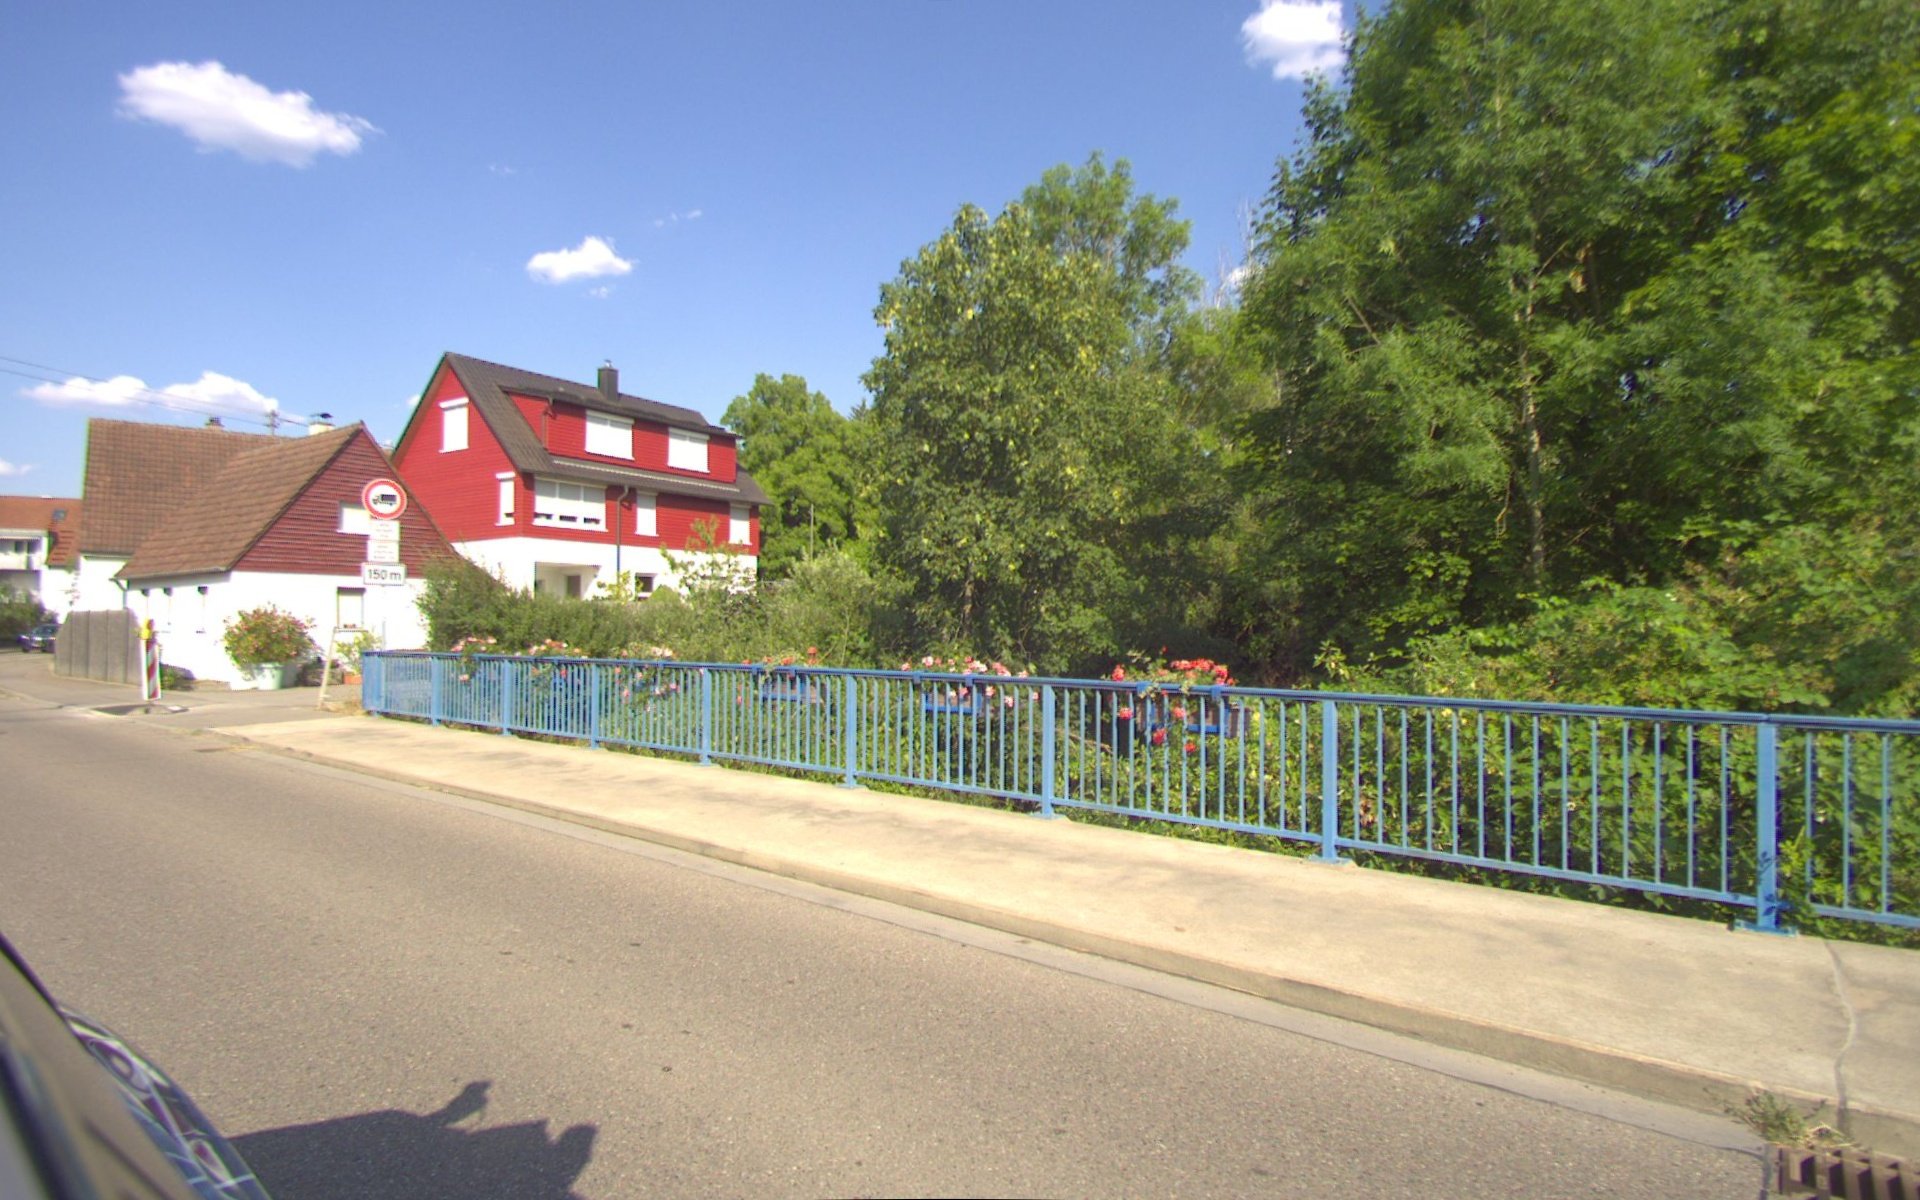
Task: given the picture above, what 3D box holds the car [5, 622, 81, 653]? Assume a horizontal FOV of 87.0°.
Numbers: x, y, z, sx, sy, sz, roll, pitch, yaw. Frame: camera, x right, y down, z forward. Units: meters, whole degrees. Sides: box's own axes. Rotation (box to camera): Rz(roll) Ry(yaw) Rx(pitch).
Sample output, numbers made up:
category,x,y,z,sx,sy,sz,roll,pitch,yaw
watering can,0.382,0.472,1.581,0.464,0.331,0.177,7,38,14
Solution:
category,x,y,z,sx,sy,sz,roll,pitch,yaw
car,-52.747,2.176,58.299,1.940,1.669,4.013,3,-3,-22
